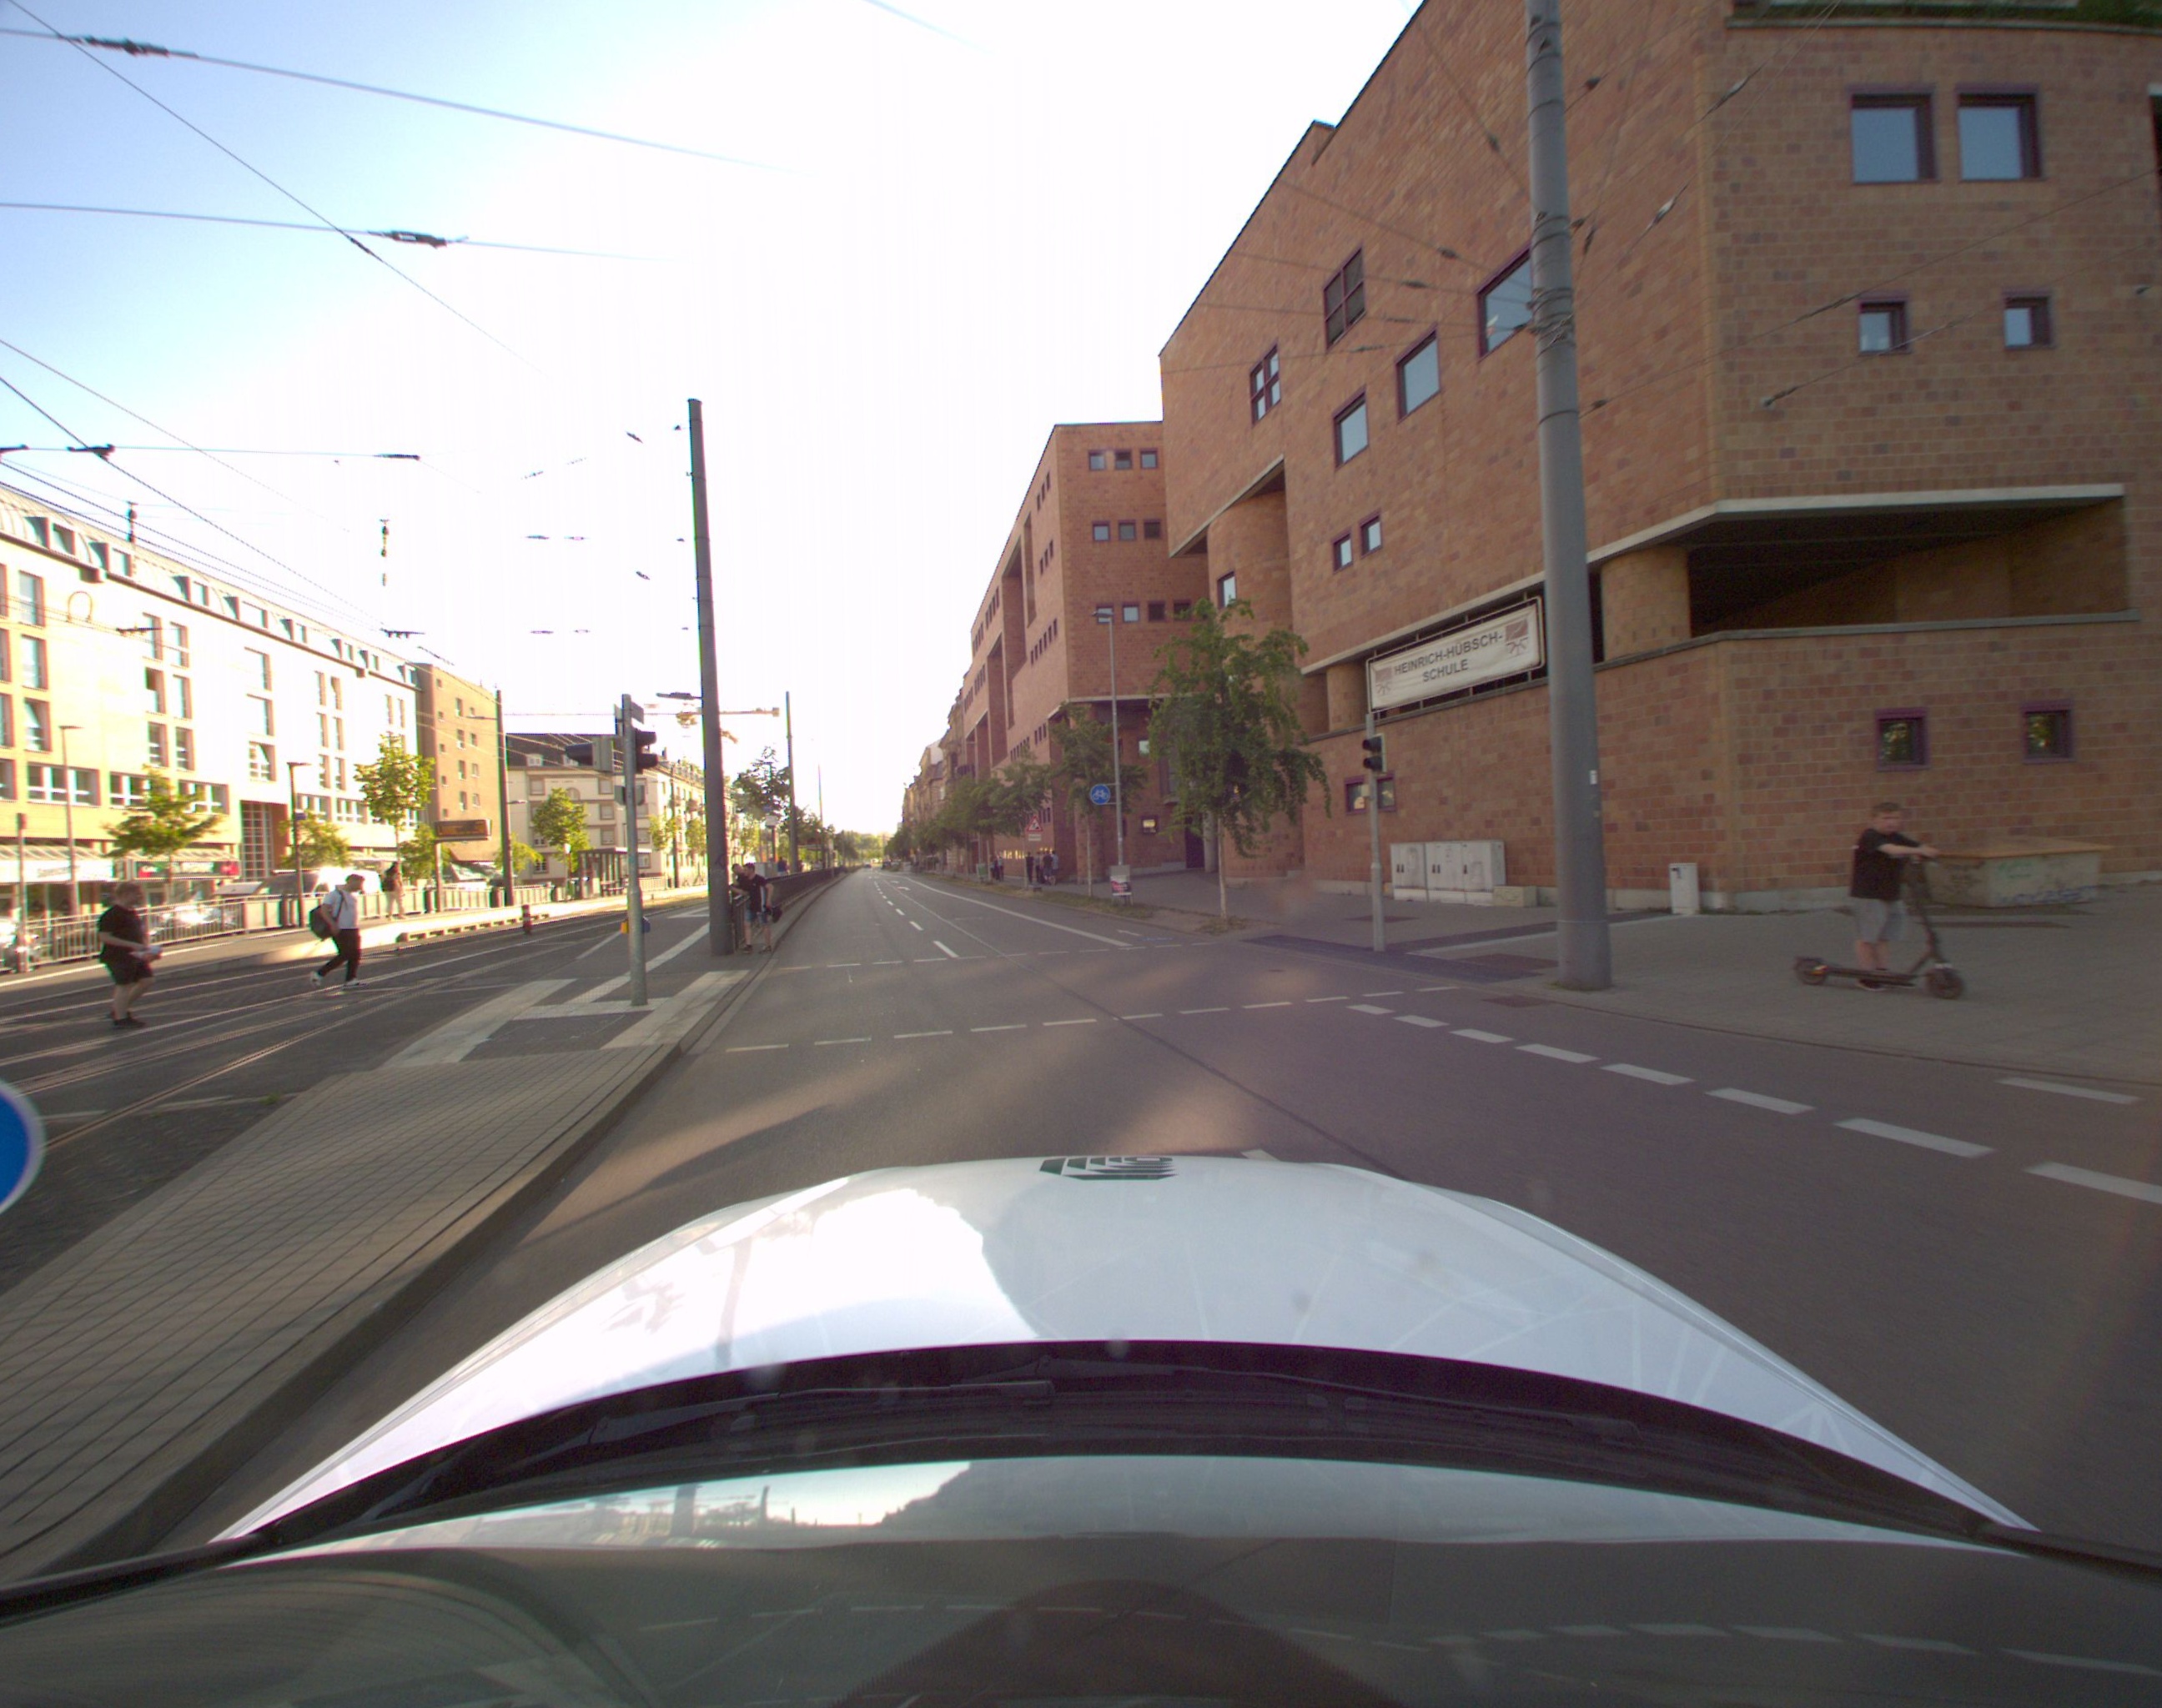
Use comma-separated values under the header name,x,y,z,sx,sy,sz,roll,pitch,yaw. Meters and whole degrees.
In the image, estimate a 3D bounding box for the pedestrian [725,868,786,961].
name,x,y,z,sx,sy,sz,roll,pitch,yaw
pedestrian,-5.762,1.048,14.462,0.712,1.538,0.850,-3,0,-7

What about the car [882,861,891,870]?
name,x,y,z,sx,sy,sz,roll,pitch,yaw
car,-42.906,2.517,179.350,1.887,1.937,4.453,-1,1,-13

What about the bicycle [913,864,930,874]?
name,x,y,z,sx,sy,sz,roll,pitch,yaw
bicycle,-19.168,1.801,97.913,1.832,1.064,0.659,-6,2,-20

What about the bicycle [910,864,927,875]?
name,x,y,z,sx,sy,sz,roll,pitch,yaw
bicycle,-19.263,1.836,96.470,1.832,1.064,0.659,-6,2,-20

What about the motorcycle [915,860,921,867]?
name,x,y,z,sx,sy,sz,roll,pitch,yaw
motorcycle,-32.031,1.873,160.066,0.796,1.308,2.837,-5,2,-15

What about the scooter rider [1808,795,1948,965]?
name,x,y,z,sx,sy,sz,roll,pitch,yaw
scooter rider,7.288,0.226,7.466,0.508,1.460,0.716,-3,0,-22

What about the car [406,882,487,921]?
name,x,y,z,sx,sy,sz,roll,pitch,yaw
car,-36.414,2.669,46.882,1.888,1.866,4.298,-3,1,-12

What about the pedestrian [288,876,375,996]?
name,x,y,z,sx,sy,sz,roll,pitch,yaw
pedestrian,-11.396,1.218,12.414,0.641,1.717,0.773,-3,0,-19

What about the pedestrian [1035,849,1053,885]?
name,x,y,z,sx,sy,sz,roll,pitch,yaw
pedestrian,-1.842,0.626,40.256,0.730,1.756,0.696,-3,0,1

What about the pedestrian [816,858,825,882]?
name,x,y,z,sx,sy,sz,roll,pitch,yaw
pedestrian,-19.079,1.161,59.707,0.506,1.678,0.648,-3,0,-15

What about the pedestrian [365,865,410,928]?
name,x,y,z,sx,sy,sz,roll,pitch,yaw
pedestrian,-19.447,1.183,22.848,0.677,1.683,0.574,-3,0,-11

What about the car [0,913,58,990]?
name,x,y,z,sx,sy,sz,roll,pitch,yaw
car,-22.206,2.039,15.246,1.761,1.447,3.977,-3,1,-17

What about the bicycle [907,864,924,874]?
name,x,y,z,sx,sy,sz,roll,pitch,yaw
bicycle,-20.419,1.816,100.518,1.832,1.064,0.659,-6,2,-20

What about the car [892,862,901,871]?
name,x,y,z,sx,sy,sz,roll,pitch,yaw
car,-37.198,2.469,163.922,1.639,1.485,4.194,-5,2,-12

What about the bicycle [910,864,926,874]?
name,x,y,z,sx,sy,sz,roll,pitch,yaw
bicycle,-19.833,1.812,99.158,1.832,1.064,0.659,-6,2,-20

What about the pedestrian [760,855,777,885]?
name,x,y,z,sx,sy,sz,roll,pitch,yaw
pedestrian,-15.604,0.787,40.675,0.684,1.483,0.824,-3,0,-16

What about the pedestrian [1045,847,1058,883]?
name,x,y,z,sx,sy,sz,roll,pitch,yaw
pedestrian,-1.479,0.560,41.041,0.535,1.756,0.694,-3,0,-5

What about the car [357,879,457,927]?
name,x,y,z,sx,sy,sz,roll,pitch,yaw
car,-31.404,2.225,38.129,1.889,1.866,4.294,-3,1,-15

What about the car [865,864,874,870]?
name,x,y,z,sx,sy,sz,roll,pitch,yaw
car,-60.770,3.692,233.976,1.797,1.464,3.989,-3,0,-8

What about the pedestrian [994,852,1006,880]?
name,x,y,z,sx,sy,sz,roll,pitch,yaw
pedestrian,-5.079,0.735,51.023,0.573,1.713,0.637,-3,0,-20

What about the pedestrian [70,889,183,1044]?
name,x,y,z,sx,sy,sz,roll,pitch,yaw
pedestrian,-11.312,1.288,9.678,0.627,1.702,0.742,-3,0,-34

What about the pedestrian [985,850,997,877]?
name,x,y,z,sx,sy,sz,roll,pitch,yaw
pedestrian,-5.983,0.643,54.044,0.539,1.756,0.418,-3,0,-29

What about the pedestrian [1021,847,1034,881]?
name,x,y,z,sx,sy,sz,roll,pitch,yaw
pedestrian,-2.809,0.531,42.761,0.537,1.756,0.462,-3,0,-16

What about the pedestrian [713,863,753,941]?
name,x,y,z,sx,sy,sz,roll,pitch,yaw
pedestrian,-7.157,0.976,16.761,0.488,1.538,0.551,-3,0,-1

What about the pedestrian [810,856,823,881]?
name,x,y,z,sx,sy,sz,roll,pitch,yaw
pedestrian,-17.577,0.958,54.129,0.674,1.562,0.901,-3,0,-15

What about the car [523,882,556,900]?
name,x,y,z,sx,sy,sz,roll,pitch,yaw
car,-56.601,3.805,85.225,1.844,1.585,4.128,-3,1,-20

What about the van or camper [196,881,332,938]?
name,x,y,z,sx,sy,sz,roll,pitch,yaw
van or camper,-40.481,2.656,40.586,1.996,2.169,5.591,-3,2,-13

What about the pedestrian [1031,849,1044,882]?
name,x,y,z,sx,sy,sz,roll,pitch,yaw
pedestrian,-2.344,0.603,43.645,0.537,1.756,0.420,-3,0,-15

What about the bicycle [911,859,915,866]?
name,x,y,z,sx,sy,sz,roll,pitch,yaw
bicycle,-38.639,1.904,187.392,0.662,1.402,2.340,-3,1,-15

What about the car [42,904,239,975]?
name,x,y,z,sx,sy,sz,roll,pitch,yaw
car,-27.626,2.449,24.154,1.891,1.532,3.977,-3,1,-17

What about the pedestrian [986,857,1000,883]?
name,x,y,z,sx,sy,sz,roll,pitch,yaw
pedestrian,-5.461,0.979,50.412,0.519,1.605,0.698,-3,0,-28

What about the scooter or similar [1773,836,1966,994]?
name,x,y,z,sx,sy,sz,roll,pitch,yaw
scooter or similar,7.265,0.528,7.555,0.530,1.318,1.124,-3,0,-23

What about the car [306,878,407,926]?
name,x,y,z,sx,sy,sz,roll,pitch,yaw
car,-34.590,2.240,39.034,1.891,1.866,4.291,-3,1,-17

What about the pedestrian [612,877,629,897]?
name,x,y,z,sx,sy,sz,roll,pitch,yaw
pedestrian,-28.453,2.049,50.317,0.674,1.189,0.901,-3,0,-15

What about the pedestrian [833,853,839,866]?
name,x,y,z,sx,sy,sz,roll,pitch,yaw
pedestrian,-31.251,0.750,103.983,0.656,1.643,0.863,-2,-1,-15

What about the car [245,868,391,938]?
name,x,y,z,sx,sy,sz,roll,pitch,yaw
car,-29.727,1.826,31.985,2.050,2.358,4.894,-3,0,-16

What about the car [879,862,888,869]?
name,x,y,z,sx,sy,sz,roll,pitch,yaw
car,-46.571,2.641,192.294,1.852,1.457,4.137,-3,1,-13

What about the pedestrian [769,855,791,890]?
name,x,y,z,sx,sy,sz,roll,pitch,yaw
pedestrian,-14.792,0.893,40.070,0.890,1.672,0.668,-3,0,-17

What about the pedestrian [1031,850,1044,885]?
name,x,y,z,sx,sy,sz,roll,pitch,yaw
pedestrian,-2.243,0.666,41.882,0.535,1.756,0.694,-3,0,-5

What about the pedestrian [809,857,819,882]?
name,x,y,z,sx,sy,sz,roll,pitch,yaw
pedestrian,-18.885,1.126,57.628,0.506,1.732,0.648,-3,0,-15

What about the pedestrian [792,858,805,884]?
name,x,y,z,sx,sy,sz,roll,pitch,yaw
pedestrian,-19.772,1.186,57.076,0.721,1.732,0.648,-3,0,-16
